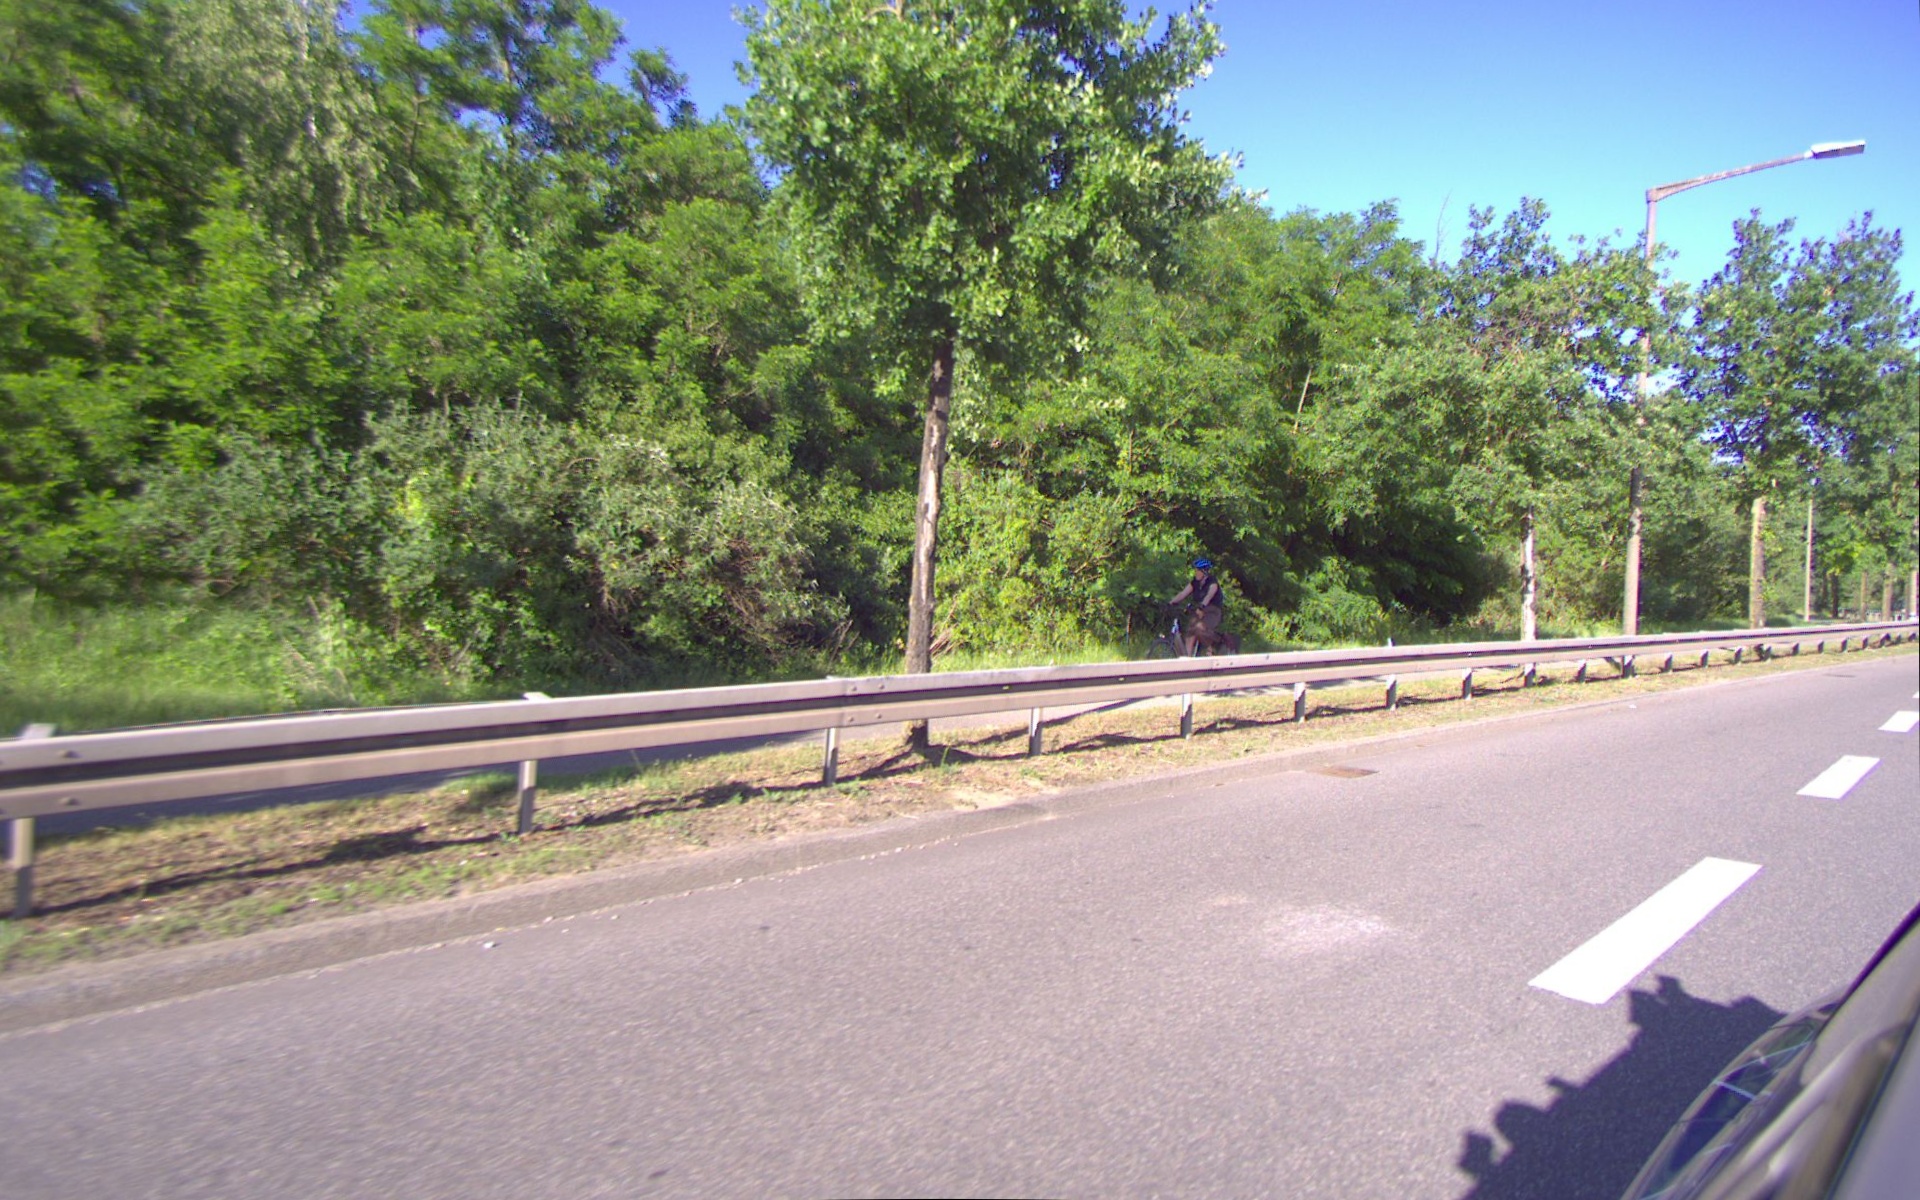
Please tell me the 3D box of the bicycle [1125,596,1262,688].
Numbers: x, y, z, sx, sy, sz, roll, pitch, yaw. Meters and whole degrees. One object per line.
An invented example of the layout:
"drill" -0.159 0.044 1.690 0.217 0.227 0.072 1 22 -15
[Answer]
"bicycle" 3.078 0.528 13.239 1.887 1.087 0.702 1 2 -40

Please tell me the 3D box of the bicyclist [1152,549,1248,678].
"bicyclist" 3.145 0.163 13.275 0.986 1.597 0.709 1 2 -39
